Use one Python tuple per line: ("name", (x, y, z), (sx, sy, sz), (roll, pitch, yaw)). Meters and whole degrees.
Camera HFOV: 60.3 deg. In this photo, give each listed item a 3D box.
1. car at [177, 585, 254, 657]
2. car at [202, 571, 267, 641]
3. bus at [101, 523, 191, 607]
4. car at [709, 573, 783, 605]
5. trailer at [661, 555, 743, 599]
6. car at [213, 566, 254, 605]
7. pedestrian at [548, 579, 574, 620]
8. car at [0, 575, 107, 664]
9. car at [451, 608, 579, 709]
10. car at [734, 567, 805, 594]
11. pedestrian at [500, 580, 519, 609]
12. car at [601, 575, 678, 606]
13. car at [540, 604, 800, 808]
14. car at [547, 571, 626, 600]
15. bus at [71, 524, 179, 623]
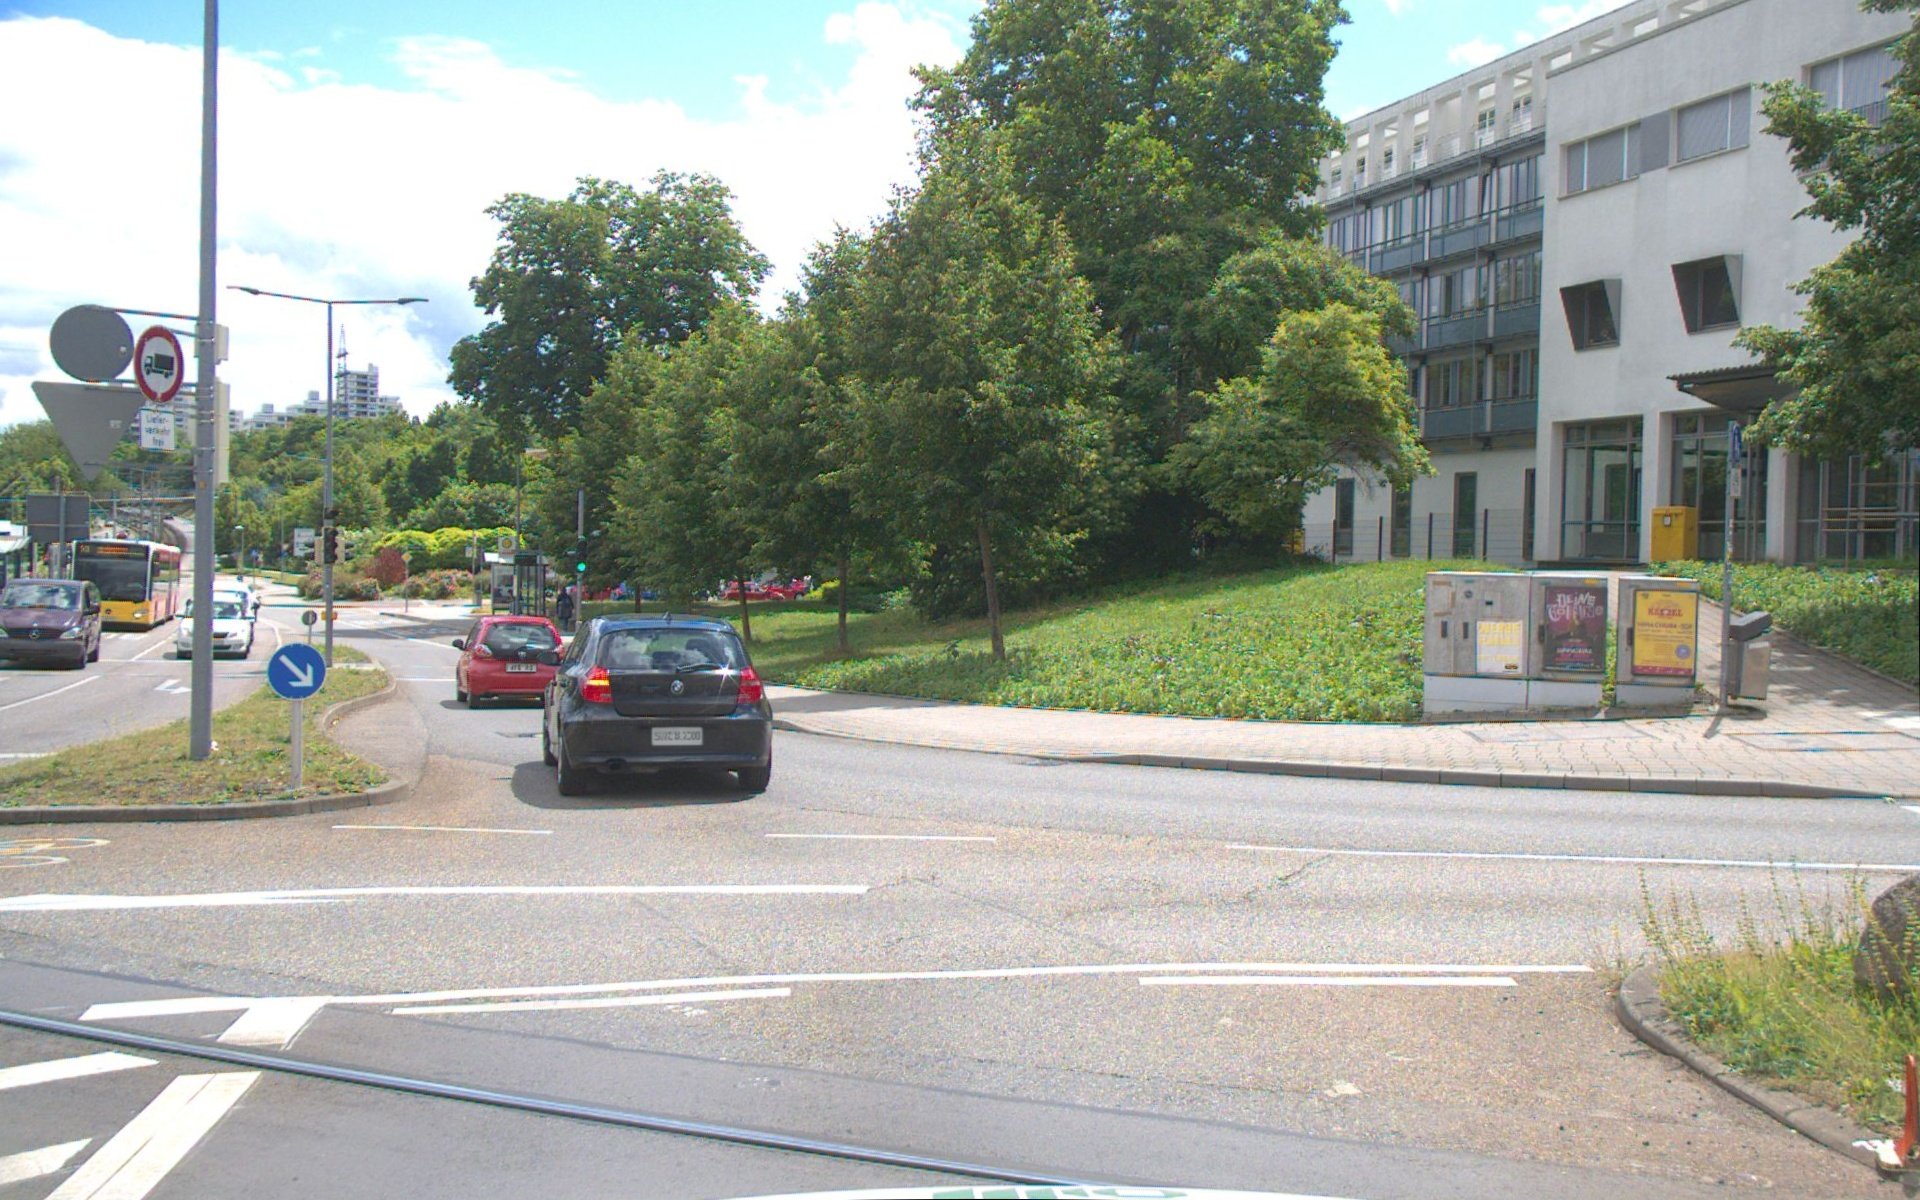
("car", (-19.191, 0.518, 42.608), (1.678, 1.677, 4.046), (1, 1, -25))
("car", (-22.333, 0.129, 50.822), (1.739, 1.690, 4.473), (0, 6, -25))
("bus", (-33.308, -1.534, 67.936), (2.689, 3.122, 8.904), (1, 3, -23))
("car", (-11.890, -0.604, 91.885), (3.641, 1.672, 1.815), (1, 2, -26))
("trailer", (-15.671, -1.414, 100.398), (4.480, 2.530, 2.204), (1, 2, -26))
("car", (-31.278, -0.635, 71.239), (1.510, 1.578, 3.705), (2, 0, -24))
("pedestrian", (-14.438, -0.017, 59.836), (0.808, 1.449, 0.824), (0, 0, -23))
("car", (-20.285, 0.412, 36.904), (1.968, 1.854, 5.032), (1, 0, -25))
("car", (-7.472, 0.912, 27.602), (1.740, 1.457, 3.457), (0, 1, -21))
("car", (-11.779, -1.204, 102.261), (4.030, 1.528, 1.984), (-1, 3, -26))
("pedestrian", (-20.680, -0.246, 75.922), (0.815, 1.280, 0.682), (0, 1, -21))
("car", (-17.314, -0.524, 89.387), (3.747, 1.481, 1.881), (-1, 3, -26))
("car", (-2.670, 0.792, 14.489), (1.786, 1.445, 3.981), (0, 1, -17))
("car", (-21.901, -0.866, 96.986), (4.110, 1.588, 1.982), (0, 4, -29))
("bus", (-29.770, -1.066, 59.276), (2.689, 3.162, 9.640), (1, 3, -22))
